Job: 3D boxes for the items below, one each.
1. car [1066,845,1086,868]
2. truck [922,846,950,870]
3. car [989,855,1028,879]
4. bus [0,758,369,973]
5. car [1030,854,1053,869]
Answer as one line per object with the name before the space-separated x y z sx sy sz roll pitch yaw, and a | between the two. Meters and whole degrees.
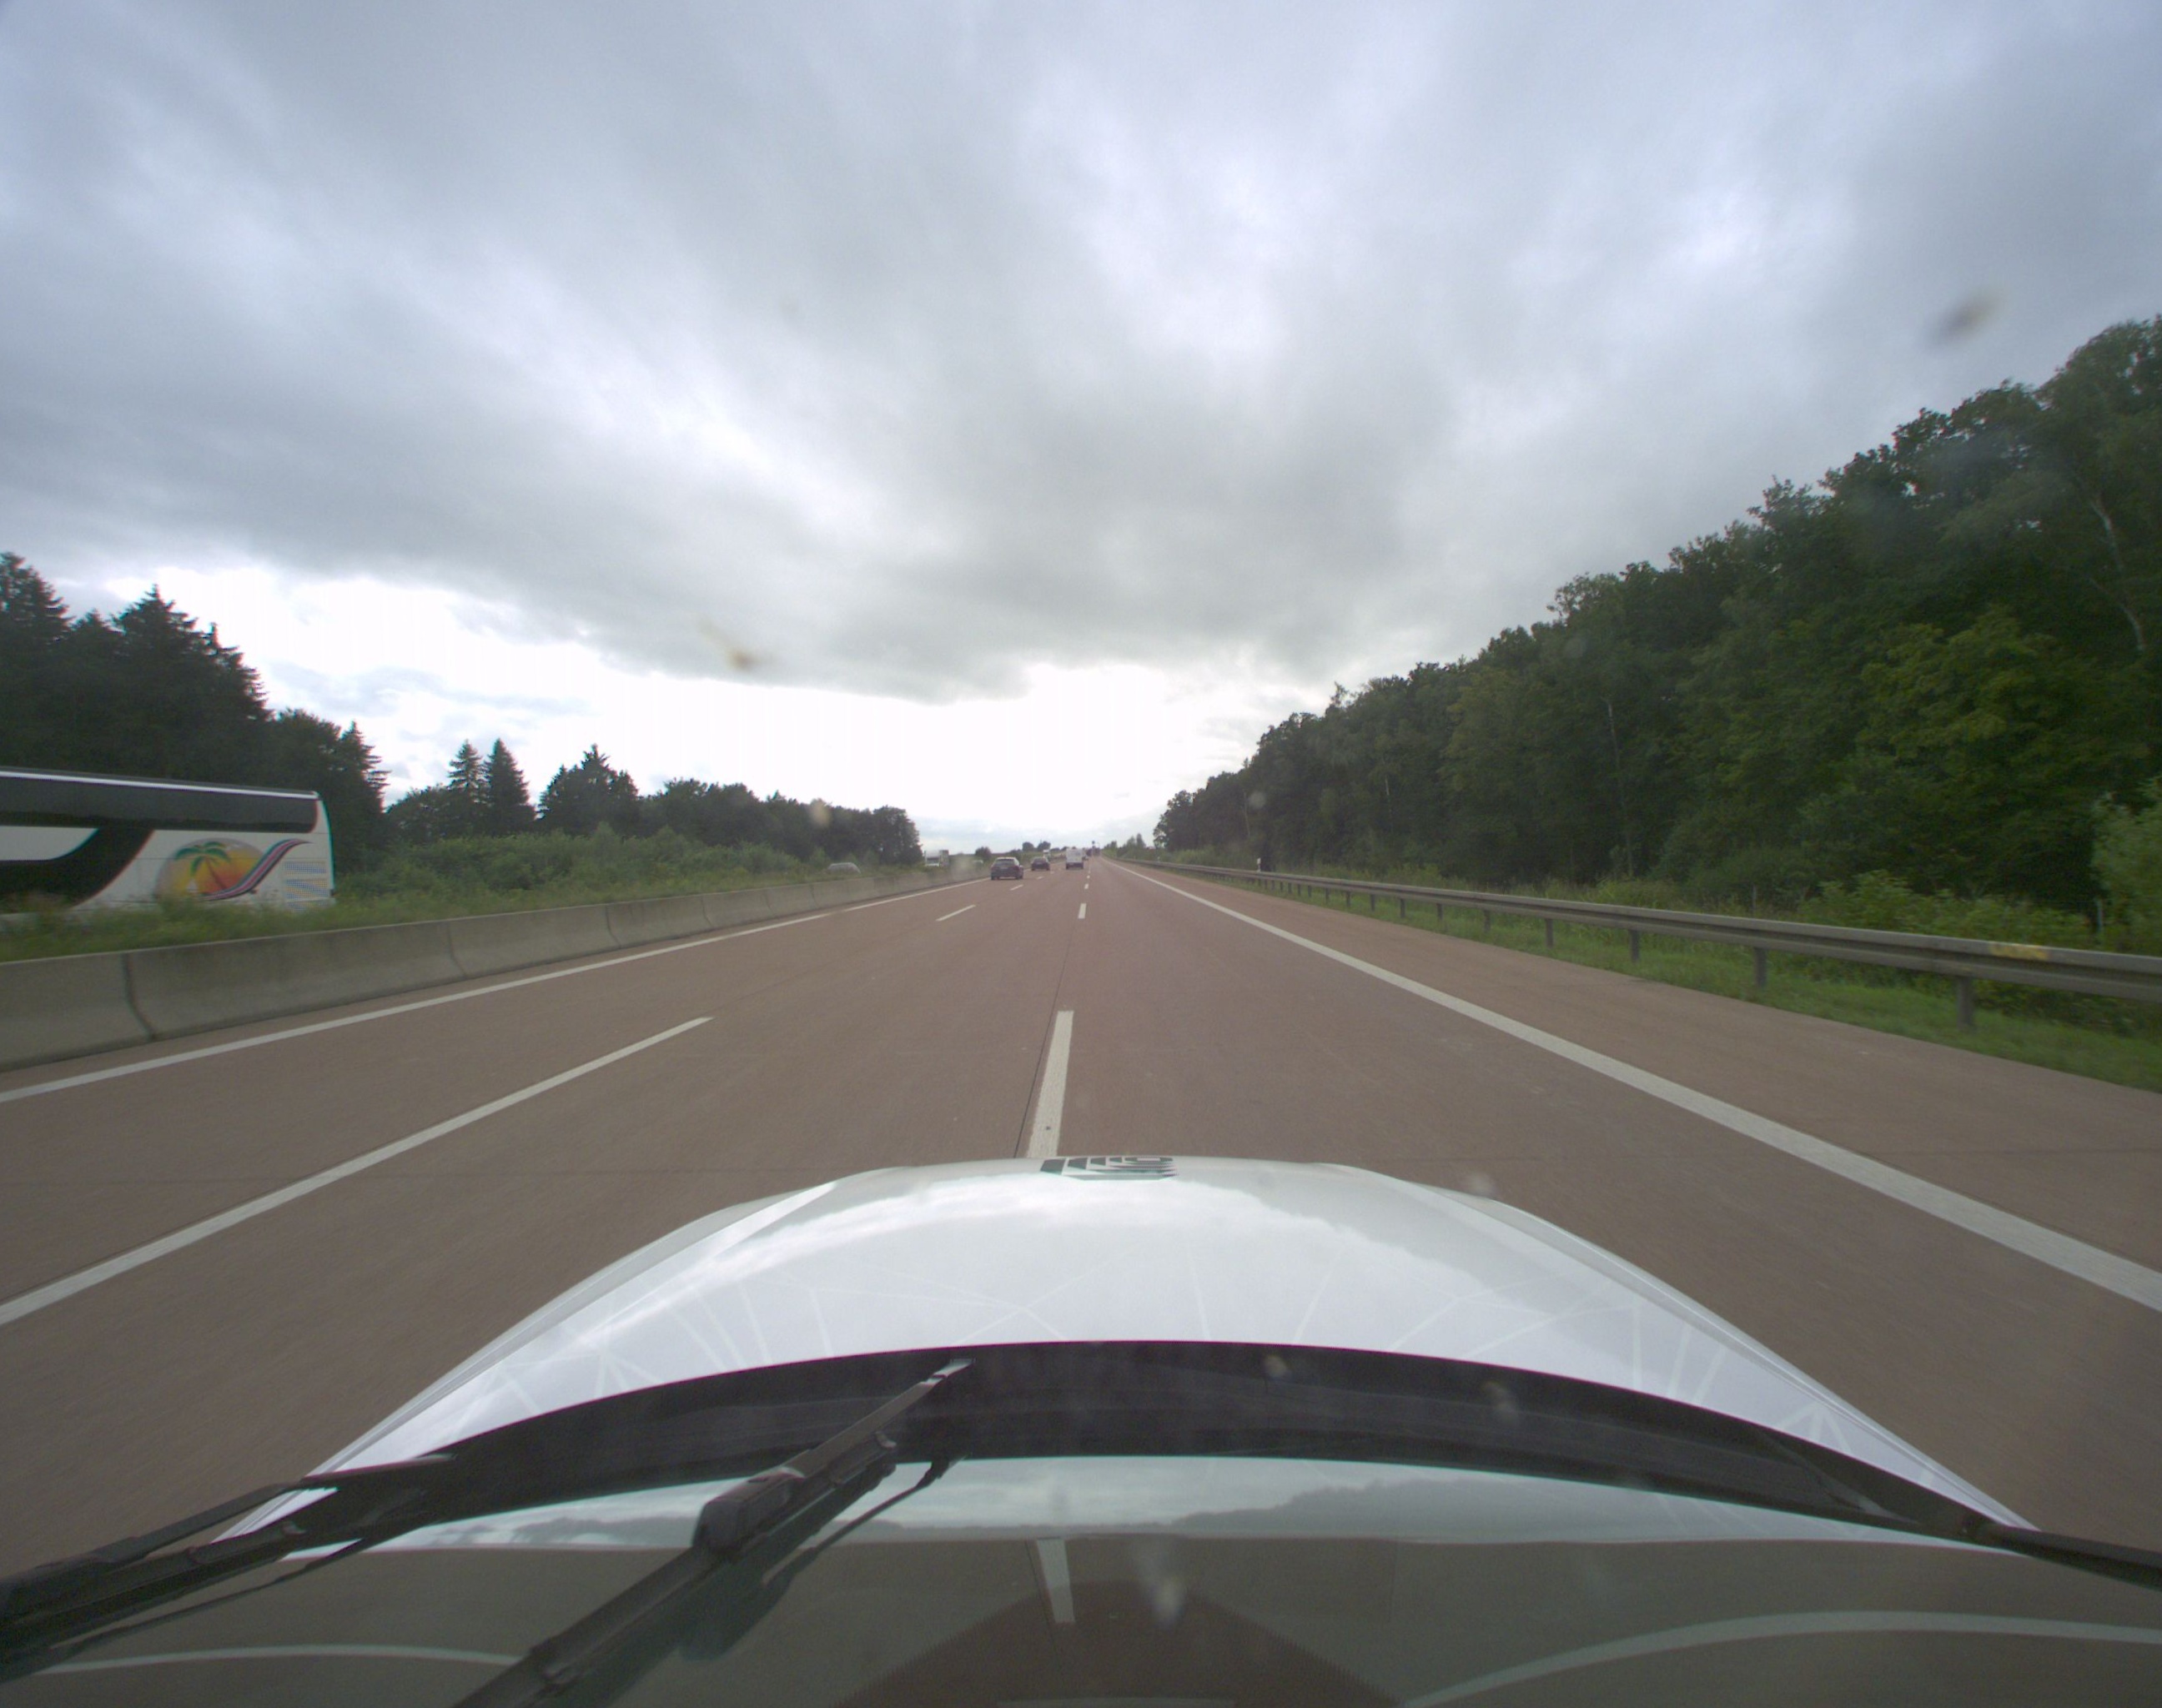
car | -0.548 0.243 95.602 2.130 2.507 7.134 -1 0 1
truck | -20.101 0.518 112.952 2.348 3.099 7.482 1 0 1
car | -4.875 0.873 55.269 2.052 1.491 5.453 -1 0 1
bus | -21.071 0.228 15.123 3.039 3.888 14.360 -1 0 0
car | -4.219 0.784 87.510 2.078 1.550 5.674 0 0 1
